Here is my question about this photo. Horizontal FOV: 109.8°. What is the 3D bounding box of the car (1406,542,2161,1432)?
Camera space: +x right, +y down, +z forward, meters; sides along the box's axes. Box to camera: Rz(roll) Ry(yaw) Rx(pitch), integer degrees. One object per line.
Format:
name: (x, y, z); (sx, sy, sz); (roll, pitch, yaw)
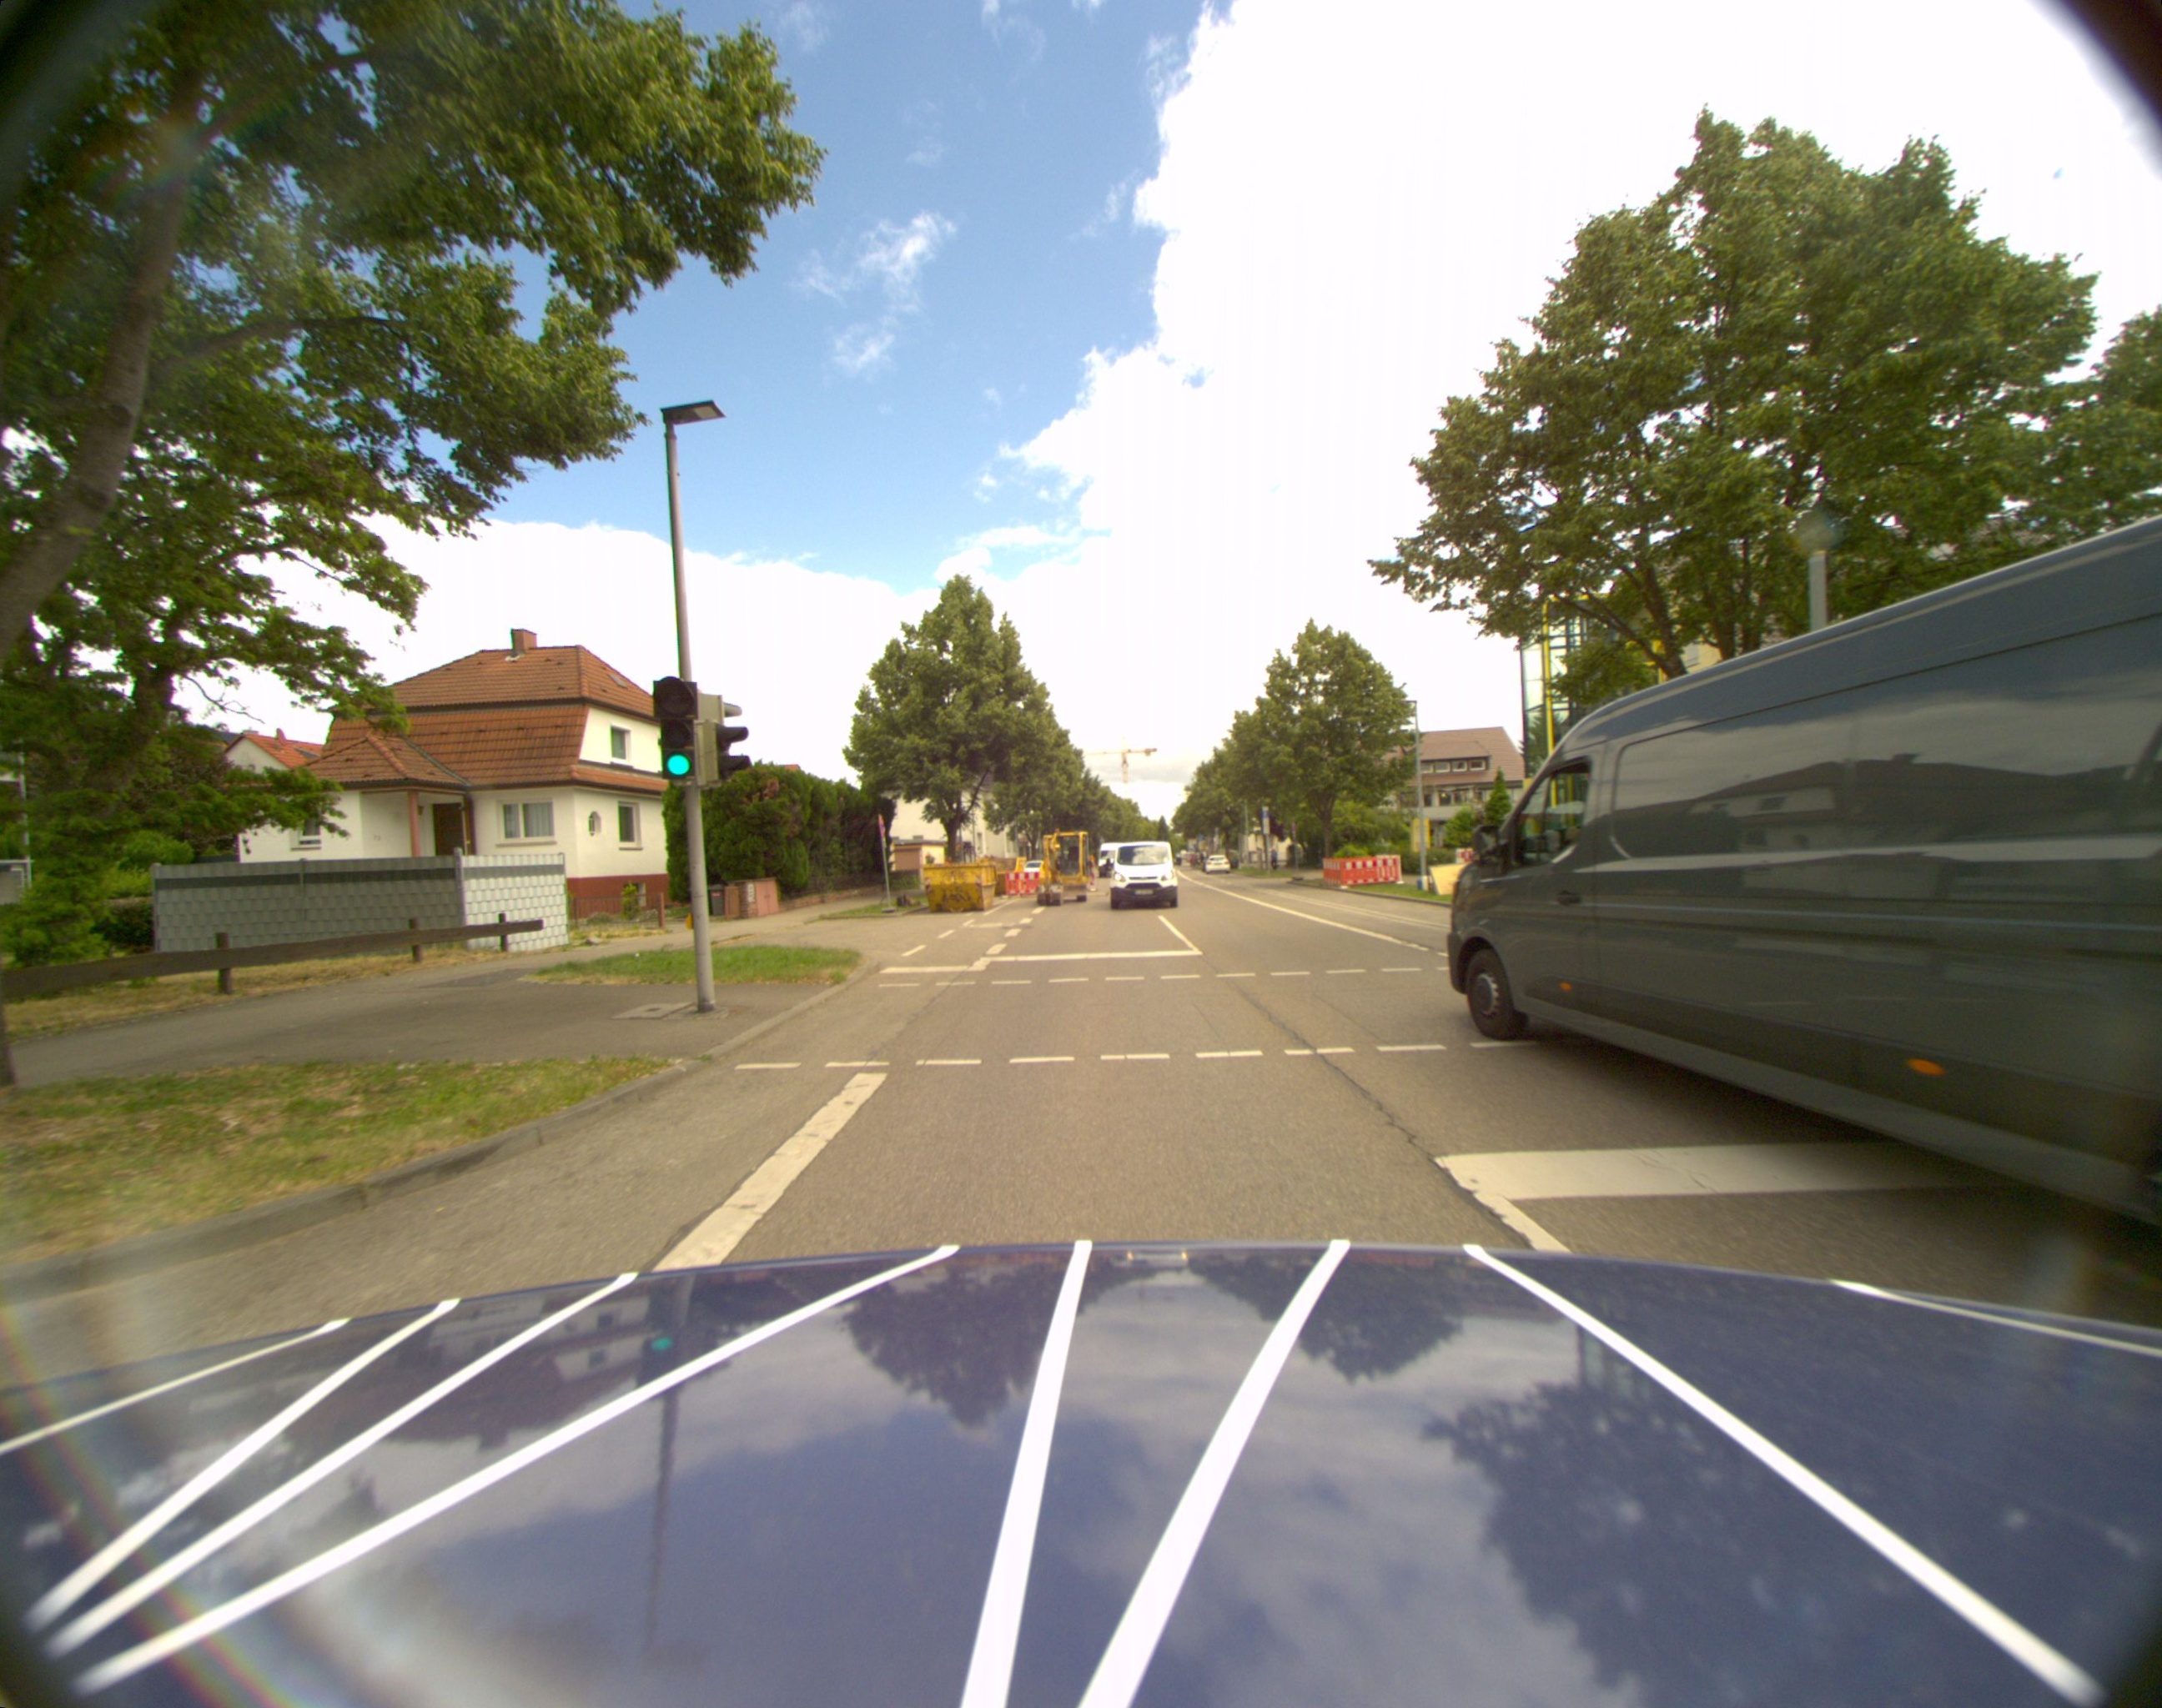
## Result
car: (3.987, 0.346, 3.556); (2.064, 2.466, 6.312); (-2, 0, -1)

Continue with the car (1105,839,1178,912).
car: (2.021, 0.607, 24.134); (1.997, 2.002, 5.321); (-2, 0, 7)

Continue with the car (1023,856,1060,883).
car: (-2.533, 0.978, 49.610); (1.821, 1.576, 4.049); (-2, 0, 5)

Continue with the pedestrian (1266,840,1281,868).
pedestrian: (14.204, 0.010, 55.993); (0.825, 2.002, 0.998); (-2, 1, 2)

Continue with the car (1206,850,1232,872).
car: (10.730, 0.501, 58.977); (1.890, 1.565, 4.003); (-2, 0, 10)

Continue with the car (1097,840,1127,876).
car: (2.422, 0.308, 58.116); (1.998, 2.584, 4.001); (-3, 0, 5)

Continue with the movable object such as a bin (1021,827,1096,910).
movable object such as a bin: (-0.667, 0.453, 26.340); (1.998, 2.550, 4.548); (-2, 0, 5)

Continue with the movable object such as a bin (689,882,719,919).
movable object such as a bin: (-11.206, 1.371, 22.603); (0.540, 1.052, 0.519); (-2, 1, 14)

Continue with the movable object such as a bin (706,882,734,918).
movable object such as a bin: (-10.681, 1.355, 22.475); (0.499, 1.038, 0.519); (-2, 1, 13)
